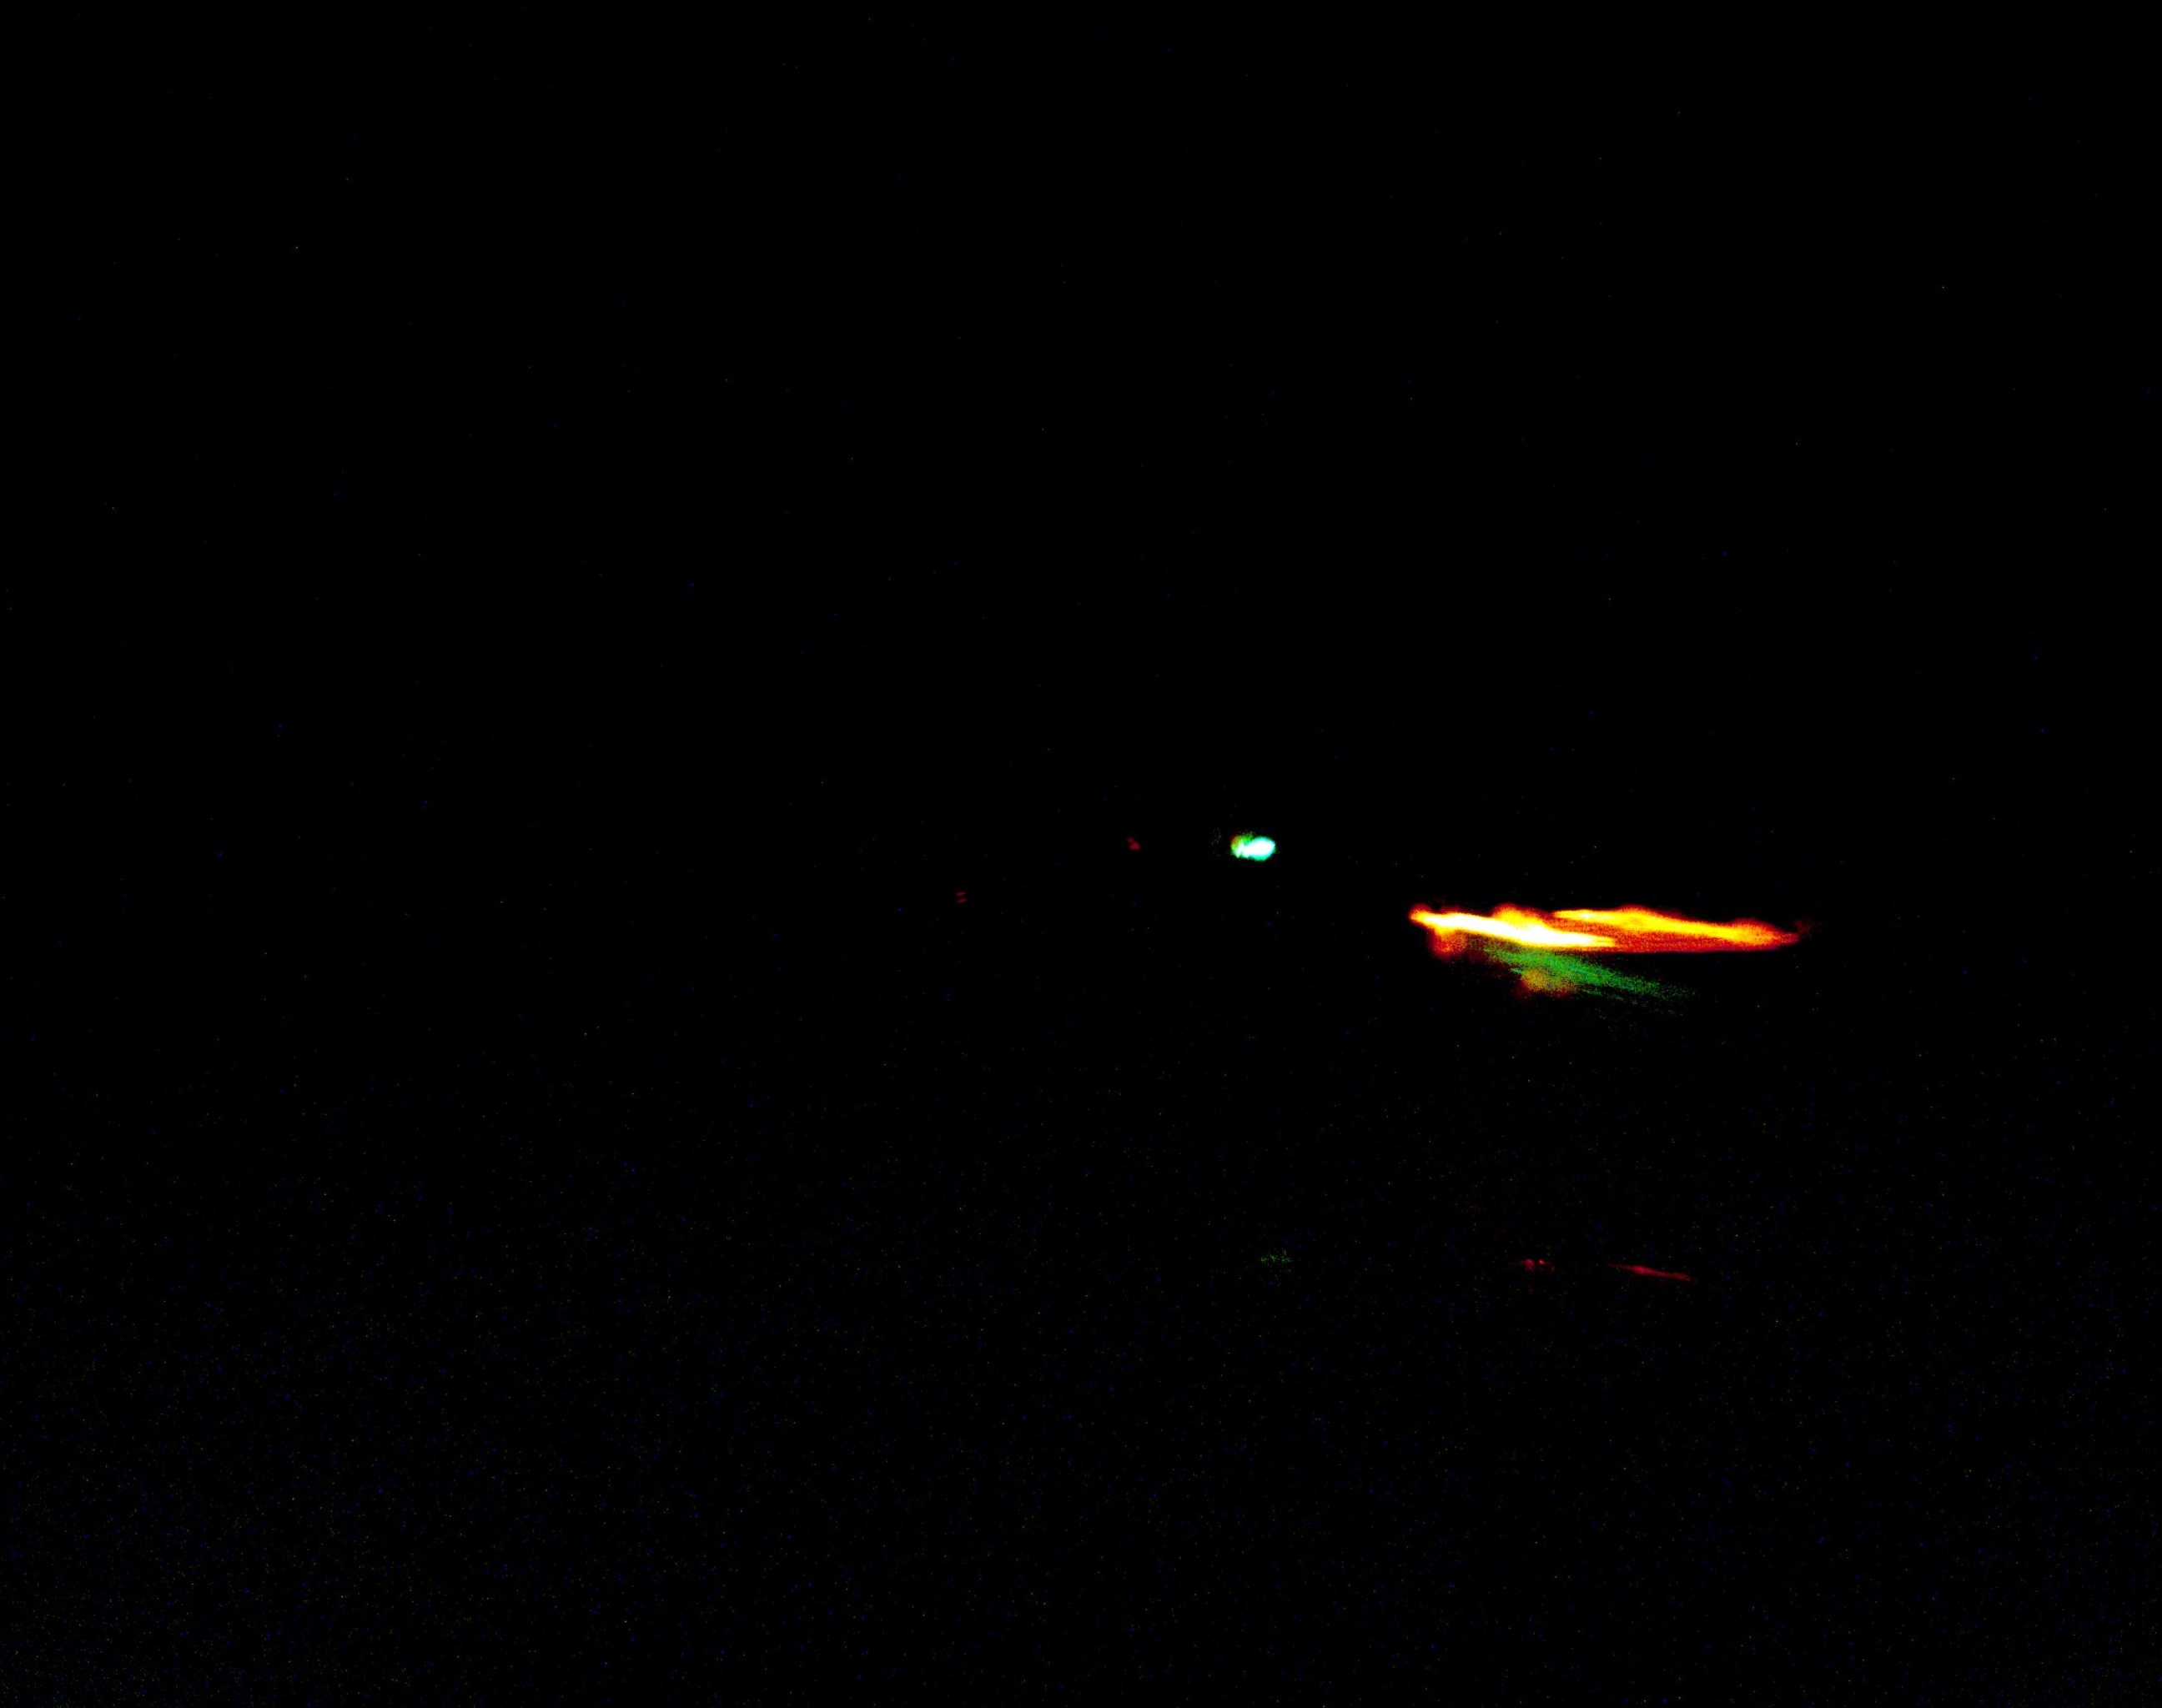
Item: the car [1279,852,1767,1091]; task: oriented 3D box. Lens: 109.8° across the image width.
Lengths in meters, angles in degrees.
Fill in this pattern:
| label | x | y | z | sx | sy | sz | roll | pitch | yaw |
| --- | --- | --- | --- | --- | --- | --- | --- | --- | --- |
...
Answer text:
| label | x | y | z | sx | sy | sz | roll | pitch | yaw |
| --- | --- | --- | --- | --- | --- | --- | --- | --- | --- |
| car | 3.564 | 0.773 | 7.513 | 1.935 | 1.575 | 4.984 | 0 | 0 | 0 |
